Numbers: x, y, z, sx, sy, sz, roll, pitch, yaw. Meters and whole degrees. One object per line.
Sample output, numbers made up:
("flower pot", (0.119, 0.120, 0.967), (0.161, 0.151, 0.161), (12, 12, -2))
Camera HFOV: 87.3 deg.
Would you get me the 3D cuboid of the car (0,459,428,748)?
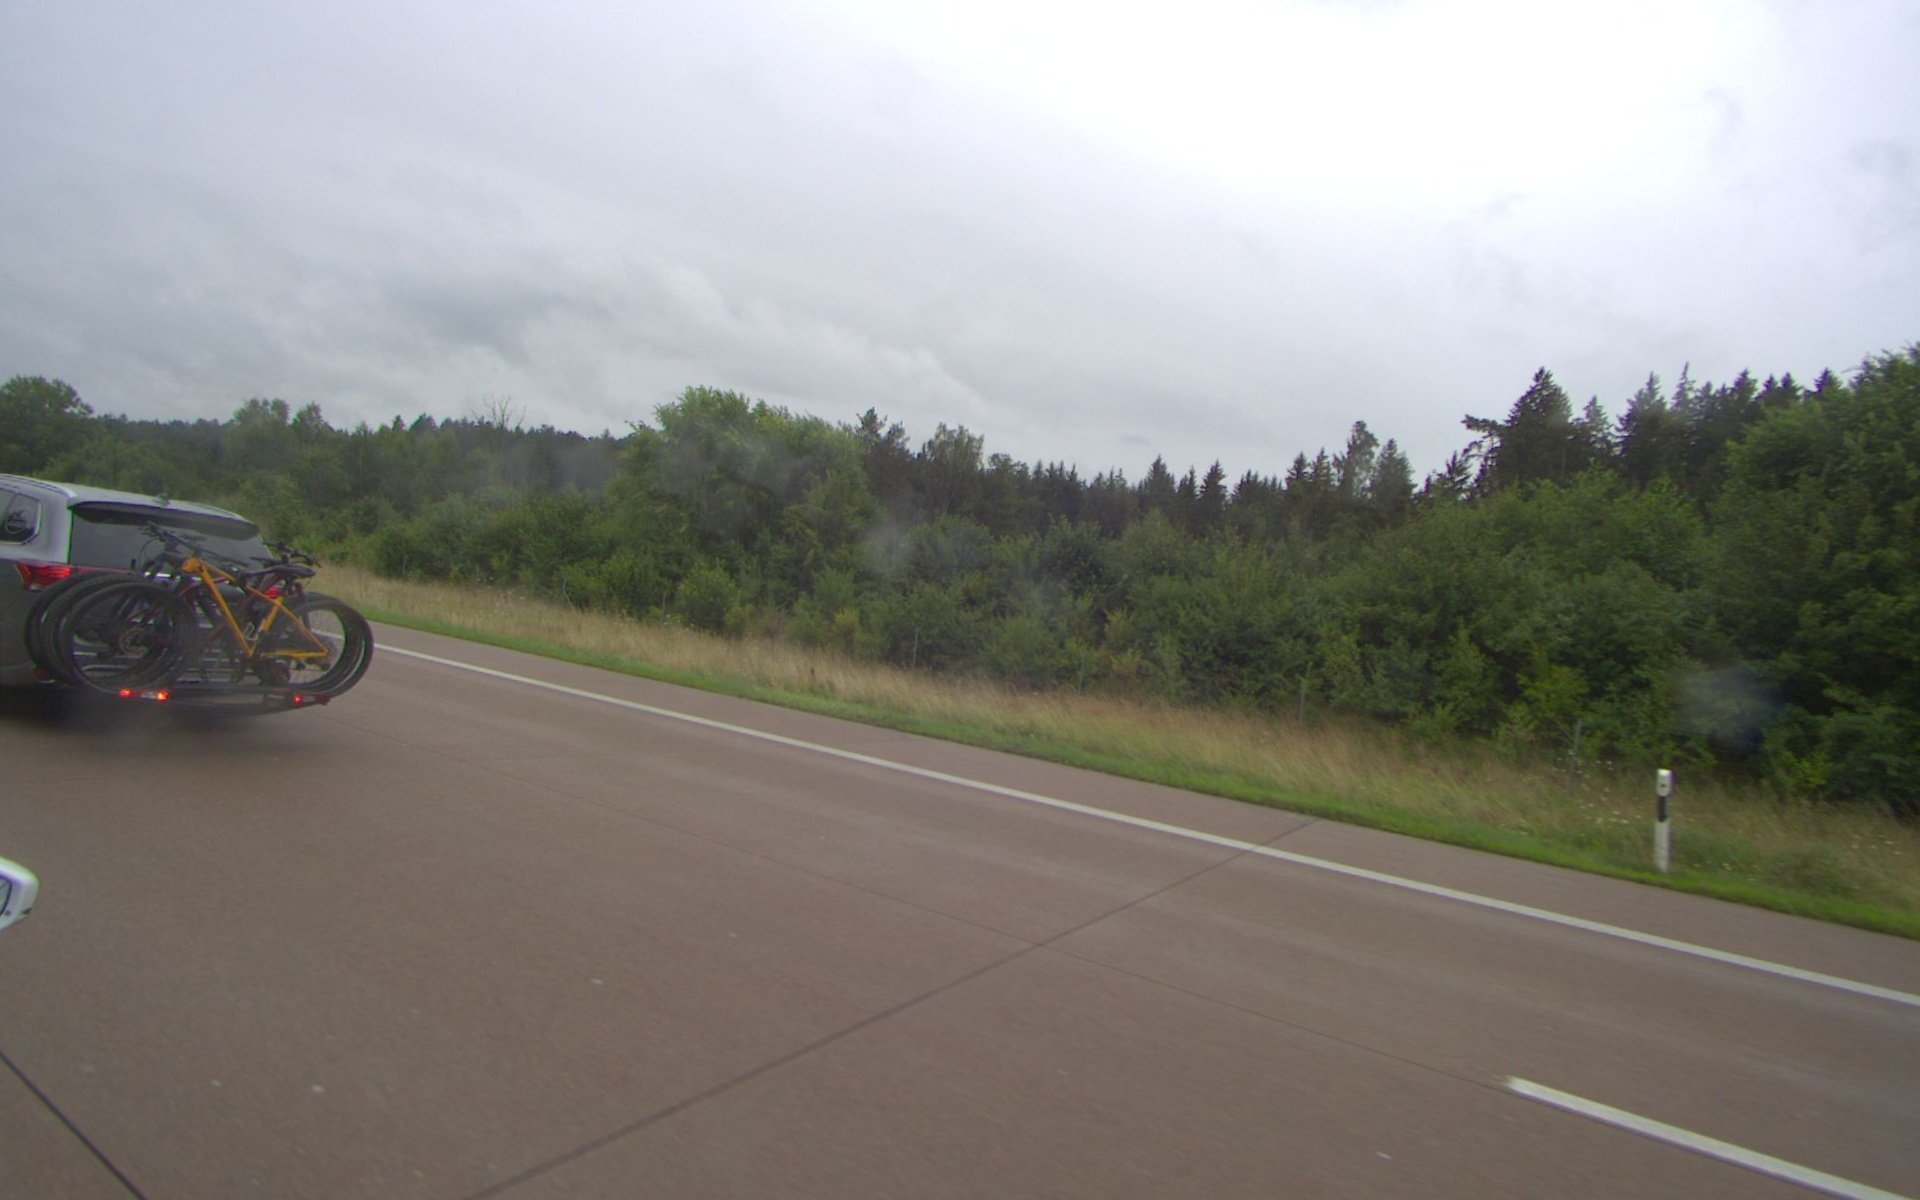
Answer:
("car", (-6.879, -0.116, 8.017), (5.725, 1.611, 1.997), (6, -2, 33))
